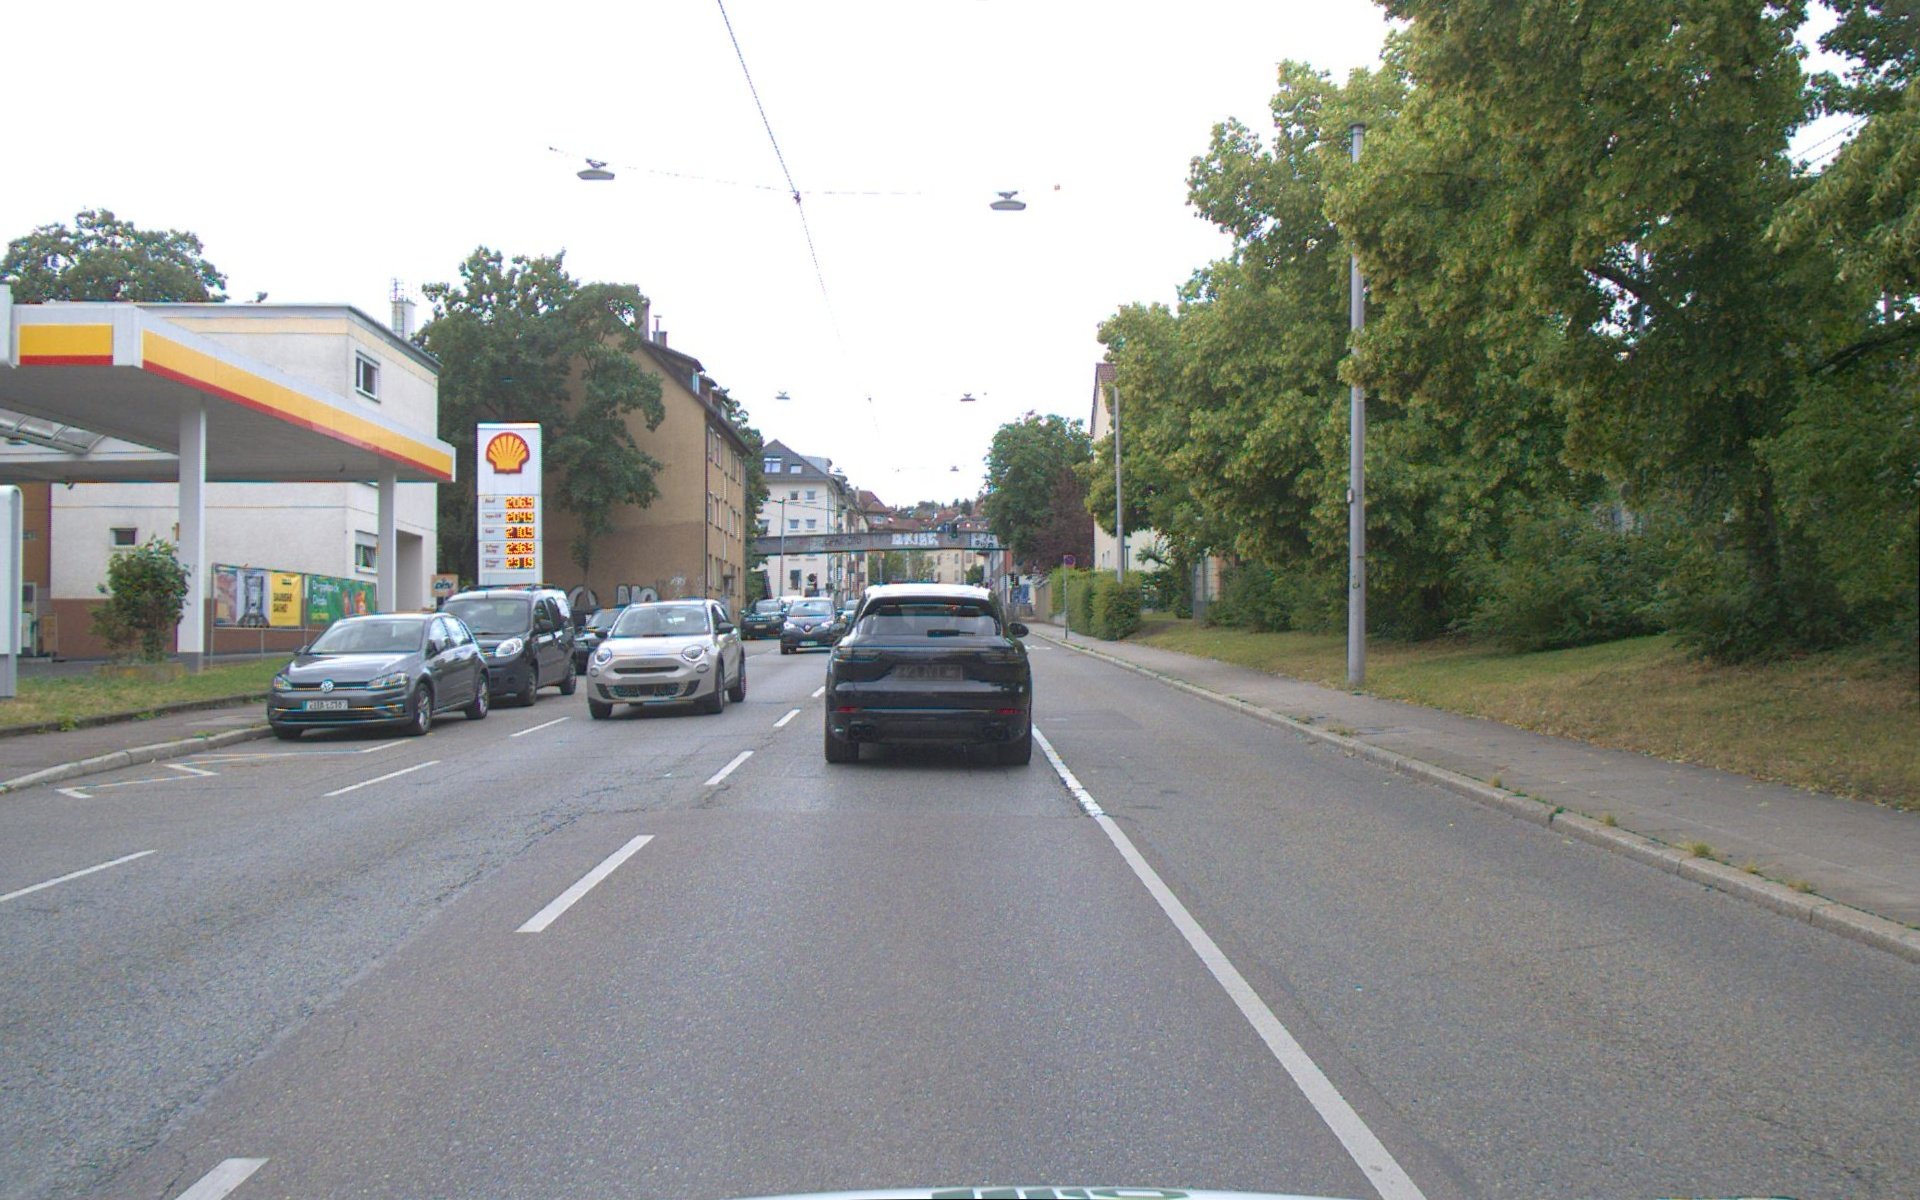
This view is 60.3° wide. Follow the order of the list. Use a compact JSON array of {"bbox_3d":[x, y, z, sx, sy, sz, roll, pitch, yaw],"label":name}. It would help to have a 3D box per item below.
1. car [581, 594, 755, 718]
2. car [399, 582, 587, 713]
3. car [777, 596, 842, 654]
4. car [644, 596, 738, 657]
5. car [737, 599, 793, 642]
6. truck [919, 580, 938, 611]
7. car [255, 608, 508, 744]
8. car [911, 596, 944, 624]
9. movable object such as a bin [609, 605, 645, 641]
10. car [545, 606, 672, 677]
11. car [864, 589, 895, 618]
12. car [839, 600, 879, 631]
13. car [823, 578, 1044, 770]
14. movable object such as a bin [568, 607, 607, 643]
[{"bbox_3d":[-4.007,0.717,23.303,1.761,1.551,3.999,-2,0,-1],"label":"car"},{"bbox_3d":[-7.356,0.689,26.513,1.814,1.867,4.699,-2,0,-3],"label":"car"},{"bbox_3d":[-4.363,0.713,48.451,1.649,1.582,3.717,-2,0,-2],"label":"car"},{"bbox_3d":[-7.559,0.711,46.869,1.876,1.605,4.699,-1,0,0],"label":"car"},{"bbox_3d":[-8.069,0.825,68.840,1.746,1.637,4.264,-3,0,0],"label":"car"},{"bbox_3d":[-3.711,-0.516,195.816,2.221,3.484,9.875,-1,0,-1],"label":"truck"},{"bbox_3d":[-7.206,0.878,21.074,1.754,1.475,4.217,-2,0,-1],"label":"car"},{"bbox_3d":[-1.684,0.533,87.707,1.706,1.424,4.000,0,1,-1],"label":"car"},{"bbox_3d":[-13.355,0.914,66.395,1.256,1.453,1.278,0,0,-5],"label":"movable object such as a bin"},{"bbox_3d":[-7.963,0.896,37.866,1.760,1.456,4.744,-2,0,1],"label":"car"},{"bbox_3d":[-5.416,0.223,111.334,1.892,1.934,4.588,-1,0,-1],"label":"car"},{"bbox_3d":[-4.980,0.747,81.900,1.741,1.492,4.498,-1,0,0],"label":"car"},{"bbox_3d":[-0.252,0.635,16.593,1.953,1.691,4.000,0,1,-1],"label":"car"},{"bbox_3d":[-15.003,1.000,66.607,1.365,1.453,0.912,0,0,-3],"label":"movable object such as a bin"}]
